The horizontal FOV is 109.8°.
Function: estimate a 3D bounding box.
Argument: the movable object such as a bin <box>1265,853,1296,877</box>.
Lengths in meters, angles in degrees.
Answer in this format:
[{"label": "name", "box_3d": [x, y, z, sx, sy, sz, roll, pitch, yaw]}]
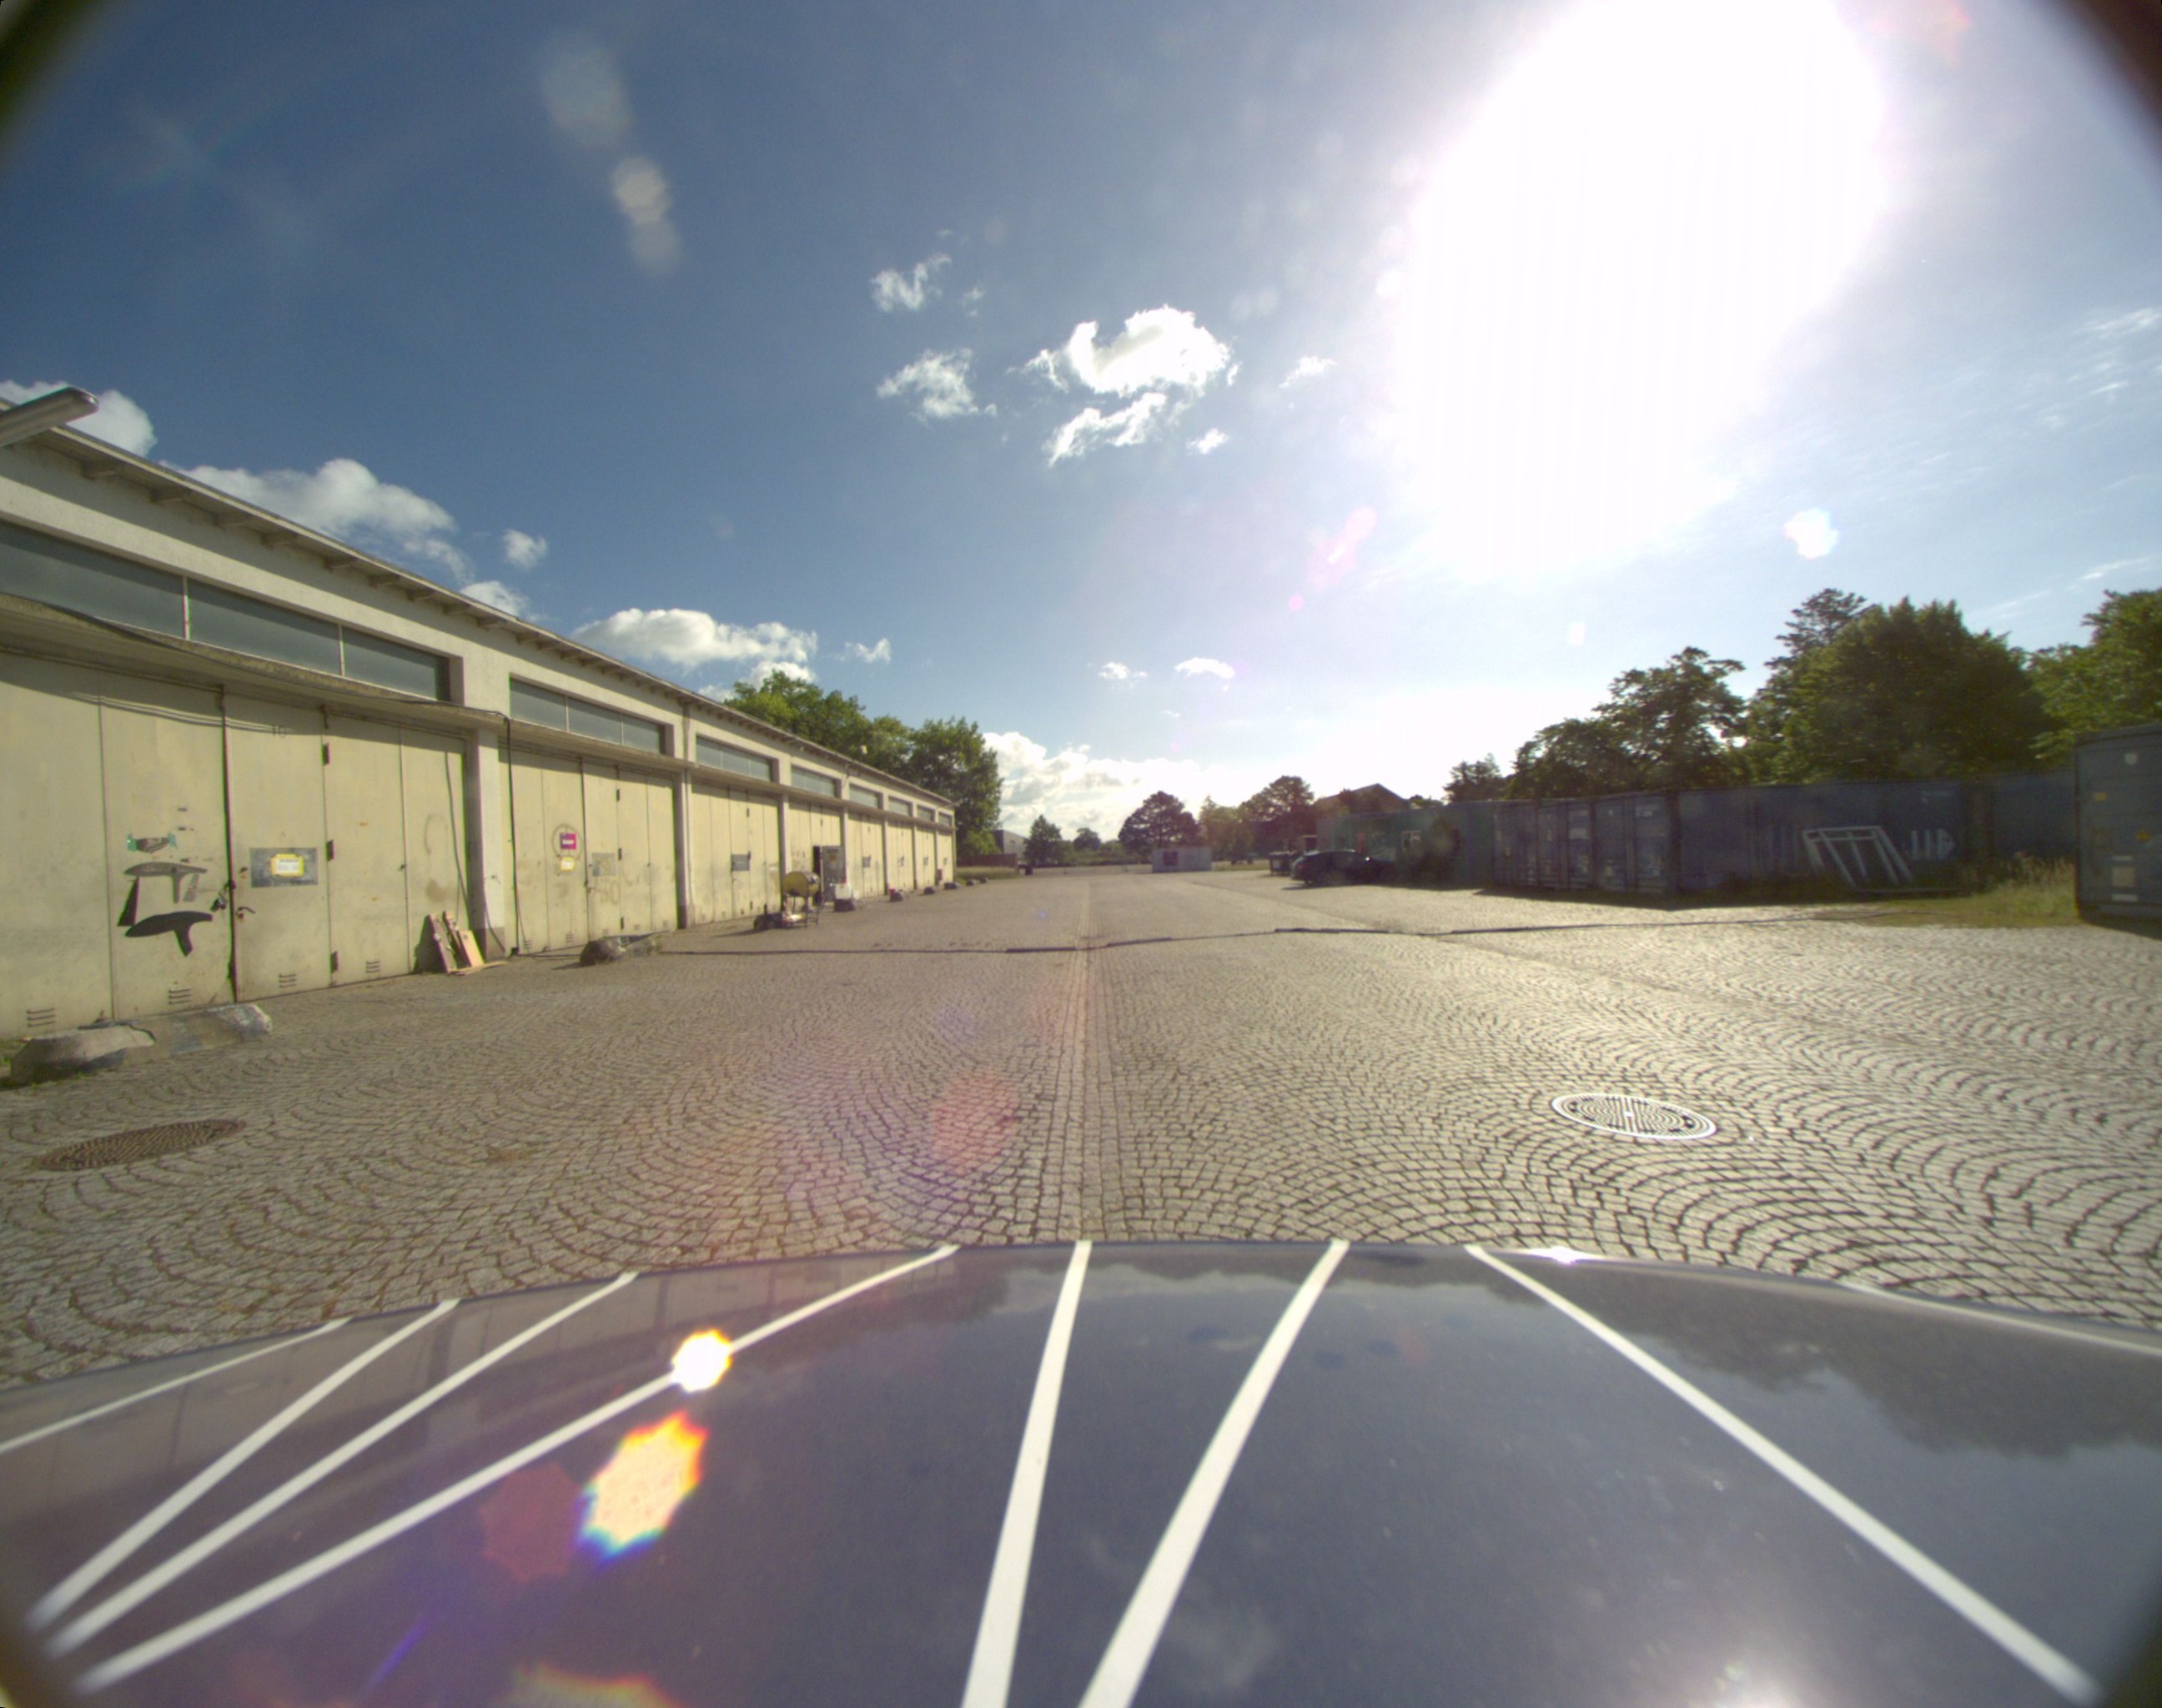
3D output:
[{"label": "movable object such as a bin", "box_3d": [12.716, 0.686, 48.372, 1.435, 1.449, 1.158, -3, 1, 43]}]

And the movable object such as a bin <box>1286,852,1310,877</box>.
[{"label": "movable object such as a bin", "box_3d": [13.189, 0.603, 46.255, 1.020, 1.449, 1.440, -3, 1, 0]}]

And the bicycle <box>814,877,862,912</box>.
[{"label": "bicycle", "box_3d": [-8.352, 1.384, 26.169, 0.665, 1.062, 1.825, -3, 1, 13]}]

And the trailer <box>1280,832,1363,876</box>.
[{"label": "trailer", "box_3d": [15.610, -0.034, 49.493, 4.649, 2.553, 1.951, -3, 1, -3]}]

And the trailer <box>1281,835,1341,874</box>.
[{"label": "trailer", "box_3d": [15.664, 0.036, 51.944, 3.393, 2.455, 2.044, -3, 1, 1]}]

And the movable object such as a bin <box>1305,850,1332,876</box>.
[{"label": "movable object such as a bin", "box_3d": [13.921, 0.510, 44.569, 0.885, 1.449, 1.439, -3, 1, -10]}]

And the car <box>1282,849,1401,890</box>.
[{"label": "car", "box_3d": [10.904, 0.624, 31.998, 4.263, 1.441, 1.931, -3, 1, -1]}]
